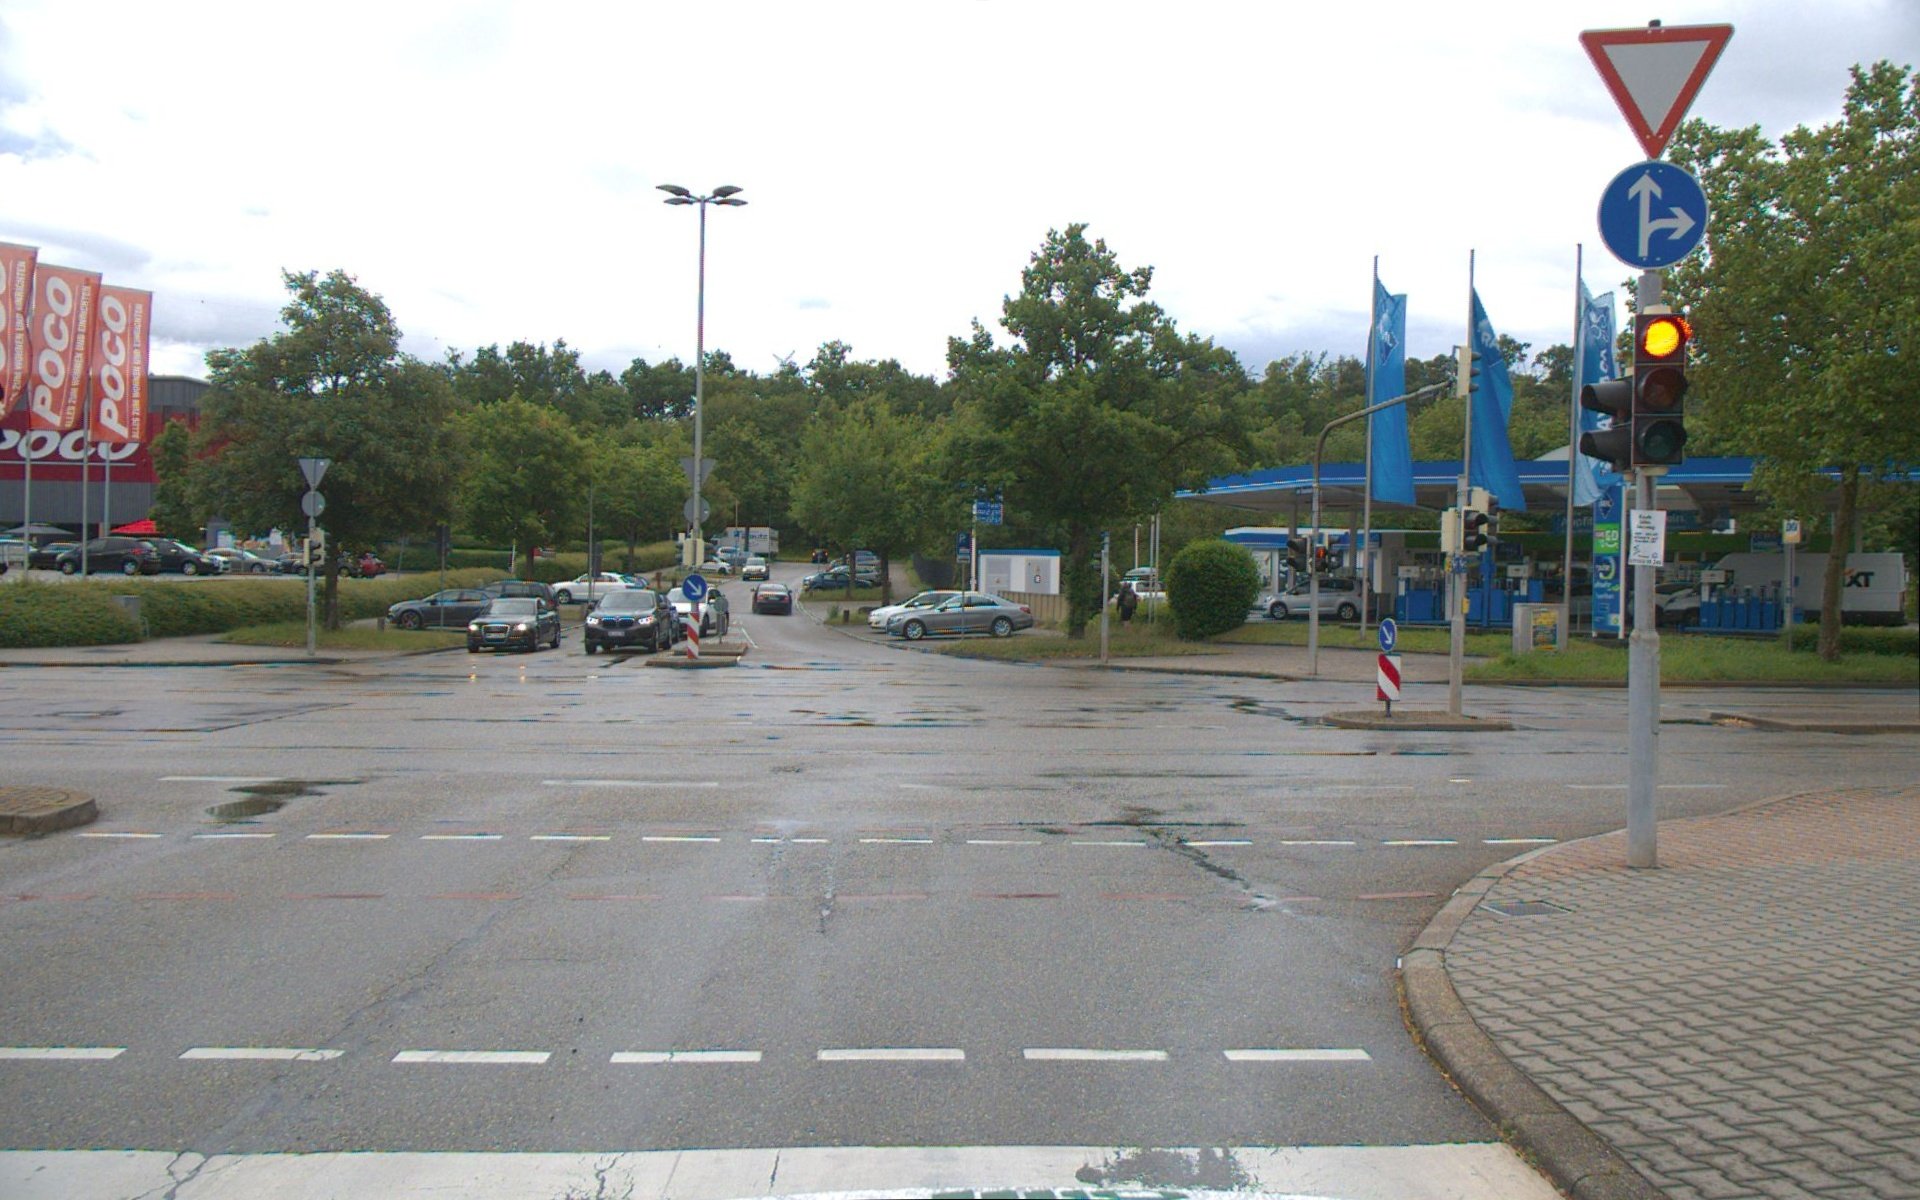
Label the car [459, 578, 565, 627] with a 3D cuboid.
[{"bbox_3d":[-16.686,0.098,61.755,3.580,1.755,1.682,0,0,-8],"label":"car"}]

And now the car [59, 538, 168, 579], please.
[{"bbox_3d":[-35.953,-1.772,70.285,3.736,1.674,1.673,0,0,1],"label":"car"}]

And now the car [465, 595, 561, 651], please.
[{"bbox_3d":[-12.118,0.603,45.084,1.747,1.429,3.997,0,0,-4],"label":"car"}]

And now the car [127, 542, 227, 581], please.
[{"bbox_3d":[-35.626,-1.745,75.288,3.736,1.674,1.673,0,0,1],"label":"car"}]

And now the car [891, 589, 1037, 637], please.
[{"bbox_3d":[0.102,0.455,56.469,4.794,1.576,1.997,0,0,-8],"label":"car"}]

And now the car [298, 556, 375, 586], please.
[{"bbox_3d":[-35.647,-1.664,94.570,3.736,1.674,1.673,0,0,1],"label":"car"}]

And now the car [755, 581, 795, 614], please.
[{"bbox_3d":[-8.778,-0.120,78.730,1.772,1.508,3.747,0,0,-5],"label":"car"}]

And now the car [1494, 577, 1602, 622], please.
[{"bbox_3d":[23.457,-0.029,65.985,3.909,1.758,1.793,0,0,27],"label":"car"}]

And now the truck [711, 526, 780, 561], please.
[{"bbox_3d":[-24.528,-6.434,189.129,7.209,3.928,2.780,0,0,11],"label":"truck"}]

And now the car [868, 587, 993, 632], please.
[{"bbox_3d":[-1.122,0.362,61.734,4.486,1.617,1.926,0,0,-8],"label":"car"}]

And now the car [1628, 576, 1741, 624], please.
[{"bbox_3d":[25.985,-0.009,59.349,3.487,1.609,1.685,2,1,31],"label":"car"}]

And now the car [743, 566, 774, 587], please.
[{"bbox_3d":[-15.186,-1.771,124.529,1.662,1.481,3.674,0,0,4],"label":"car"}]

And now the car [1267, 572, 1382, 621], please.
[{"bbox_3d":[14.367,-0.098,65.182,4.036,1.839,1.943,-1,-1,29],"label":"car"}]

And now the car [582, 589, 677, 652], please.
[{"bbox_3d":[-8.699,0.525,43.844,1.858,1.580,4.588,0,0,-4],"label":"car"}]

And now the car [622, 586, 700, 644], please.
[{"bbox_3d":[-9.048,0.450,50.308,1.760,1.661,4.548,0,0,-3],"label":"car"}]

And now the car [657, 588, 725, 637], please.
[{"bbox_3d":[-8.997,0.412,55.540,1.858,1.580,3.997,0,0,-4],"label":"car"}]

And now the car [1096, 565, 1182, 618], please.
[{"bbox_3d":[6.500,-0.296,60.431,1.780,1.828,3.682,1,0,-17],"label":"car"}]

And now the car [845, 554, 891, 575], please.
[{"bbox_3d":[-8.009,-3.117,144.222,3.910,1.769,1.808,0,0,-7],"label":"car"}]

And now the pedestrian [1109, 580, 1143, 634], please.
[{"bbox_3d":[5.163,0.219,51.529,0.795,1.690,0.883,0,-1,-15],"label":"pedestrian"}]

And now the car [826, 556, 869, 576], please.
[{"bbox_3d":[-10.332,-3.119,151.615,3.910,1.769,1.808,0,0,-7],"label":"car"}]

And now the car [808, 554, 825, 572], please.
[{"bbox_3d":[-15.544,-3.974,178.957,1.769,1.769,3.995,0,0,-5],"label":"car"}]

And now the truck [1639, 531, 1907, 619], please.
[{"bbox_3d":[26.289,-0.764,53.816,7.691,2.722,2.154,0,0,25],"label":"truck"}]

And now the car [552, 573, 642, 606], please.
[{"bbox_3d":[-18.158,-0.525,82.929,4.187,1.637,1.683,0,0,-4],"label":"car"}]

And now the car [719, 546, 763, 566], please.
[{"bbox_3d":[-20.661,-4.115,156.289,3.907,1.825,1.855,0,0,-3],"label":"car"}]

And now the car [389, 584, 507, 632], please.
[{"bbox_3d":[-17.335,0.259,56.121,3.580,1.580,1.682,0,0,-8],"label":"car"}]

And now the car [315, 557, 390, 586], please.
[{"bbox_3d":[-35.740,-1.654,97.355,3.736,1.674,1.673,0,0,1],"label":"car"}]

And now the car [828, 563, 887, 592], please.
[{"bbox_3d":[-6.446,-1.405,104.218,3.627,1.780,1.695,1,0,-6],"label":"car"}]

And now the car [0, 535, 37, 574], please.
[{"bbox_3d":[-37.627,-1.740,63.162,3.816,1.405,1.673,0,0,1],"label":"car"}]

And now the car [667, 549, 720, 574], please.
[{"bbox_3d":[-20.249,-2.908,125.697,3.911,1.825,1.853,0,0,-8],"label":"car"}]

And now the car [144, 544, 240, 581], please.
[{"bbox_3d":[-36.184,-1.743,77.996,3.736,1.674,1.673,0,0,1],"label":"car"}]

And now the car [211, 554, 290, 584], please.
[{"bbox_3d":[-40.628,-1.752,94.754,3.736,1.674,1.673,0,0,1],"label":"car"}]

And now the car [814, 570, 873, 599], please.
[{"bbox_3d":[-6.899,-0.904,97.678,3.393,1.683,1.614,1,0,-6],"label":"car"}]
